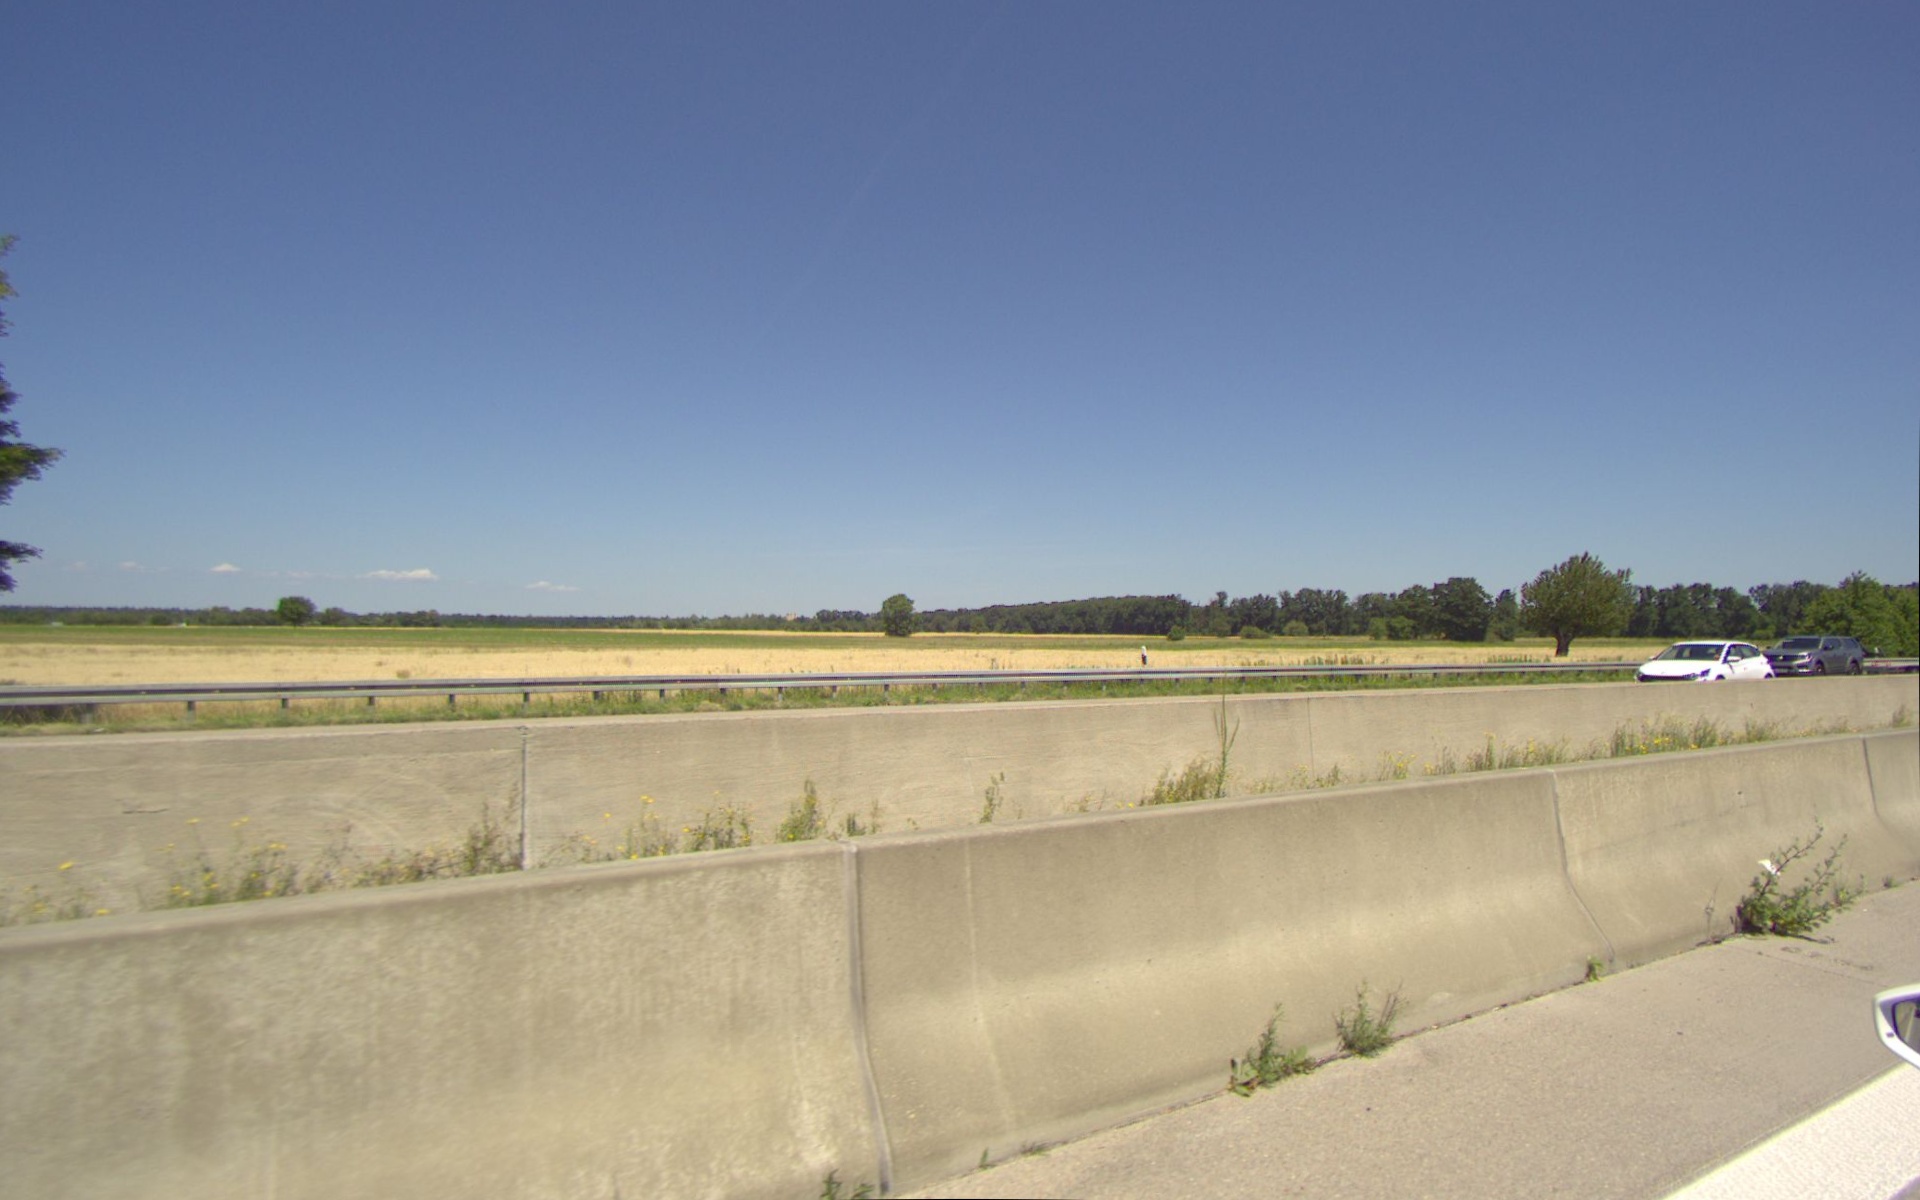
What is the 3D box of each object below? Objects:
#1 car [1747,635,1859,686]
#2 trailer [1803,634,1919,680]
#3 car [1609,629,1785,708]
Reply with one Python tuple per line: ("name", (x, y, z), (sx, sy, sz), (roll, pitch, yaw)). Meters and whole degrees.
("car", (31.658, 2.216, 37.688), (4.253, 1.740, 1.983), (1, 0, -32))
("trailer", (38.929, 2.322, 42.154), (10.424, 1.768, 2.226), (1, -2, -31))
("car", (18.575, 1.685, 25.267), (4.561, 1.739, 1.983), (2, 0, -32))
